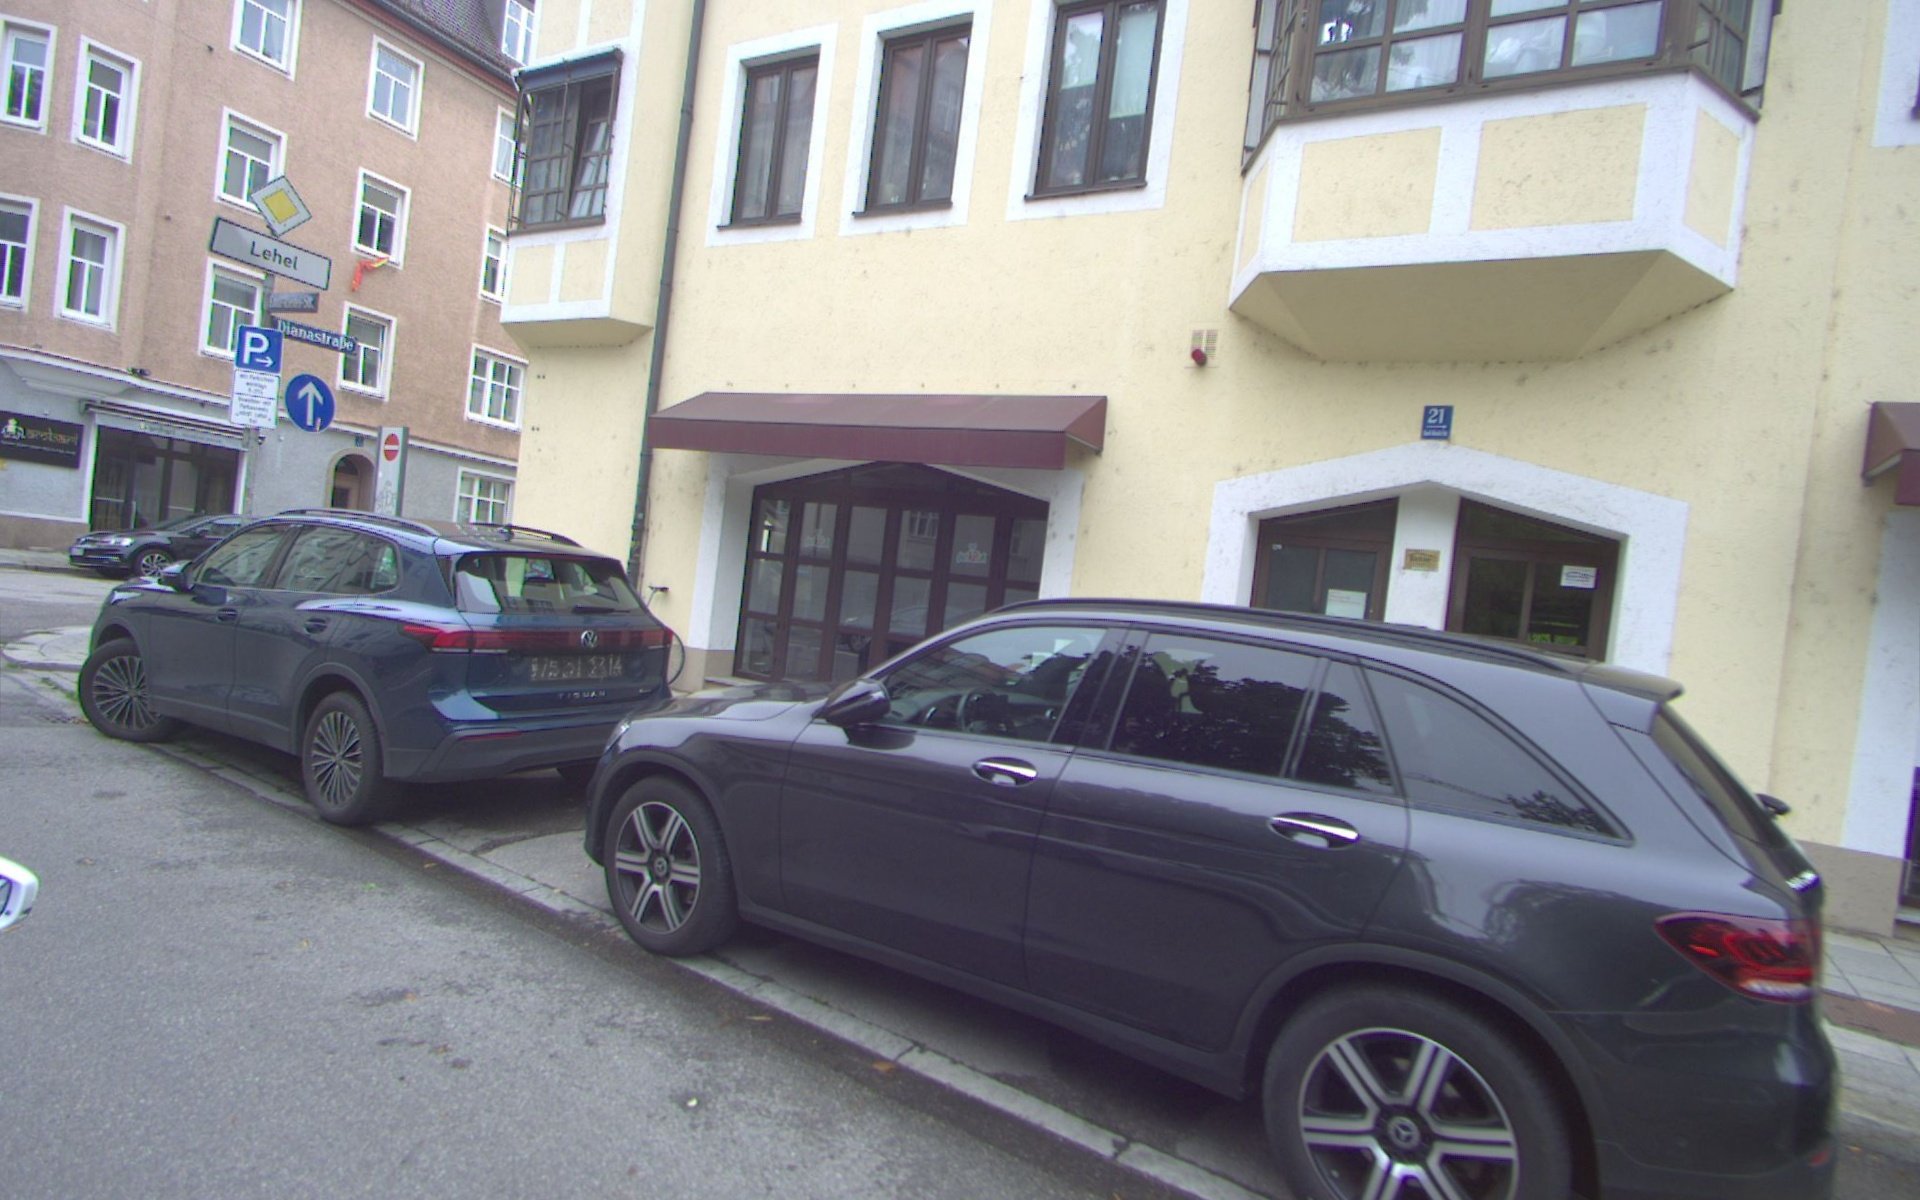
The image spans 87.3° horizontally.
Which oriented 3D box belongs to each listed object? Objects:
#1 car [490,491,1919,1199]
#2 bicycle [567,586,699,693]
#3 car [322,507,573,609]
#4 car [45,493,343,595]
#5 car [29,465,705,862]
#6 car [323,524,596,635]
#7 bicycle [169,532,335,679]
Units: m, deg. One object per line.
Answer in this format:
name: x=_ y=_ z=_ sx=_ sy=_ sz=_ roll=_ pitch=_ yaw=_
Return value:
car: x=0.385 y=0.646 z=3.936 sx=4.630 sy=1.701 sz=1.757 roll=7 pitch=2 yaw=33
bicycle: x=-3.726 y=0.433 z=11.411 sx=1.656 sy=0.989 sz=0.271 roll=7 pitch=0 yaw=30
car: x=-12.422 y=-0.946 z=24.822 sx=2.064 sy=1.876 sz=5.137 roll=5 pitch=-1 yaw=29
car: x=-14.831 y=-1.030 z=19.733 sx=1.892 sy=1.446 sz=4.177 roll=5 pitch=-1 yaw=29
car: x=-4.011 y=0.193 z=6.595 sx=4.434 sy=1.701 sz=1.820 roll=7 pitch=1 yaw=31
car: x=-8.925 y=-0.301 z=18.291 sx=1.717 sy=1.475 sz=4.042 roll=9 pitch=1 yaw=31
bicycle: x=-7.070 y=0.035 z=10.014 sx=1.962 sy=1.222 sz=0.514 roll=7 pitch=0 yaw=32
